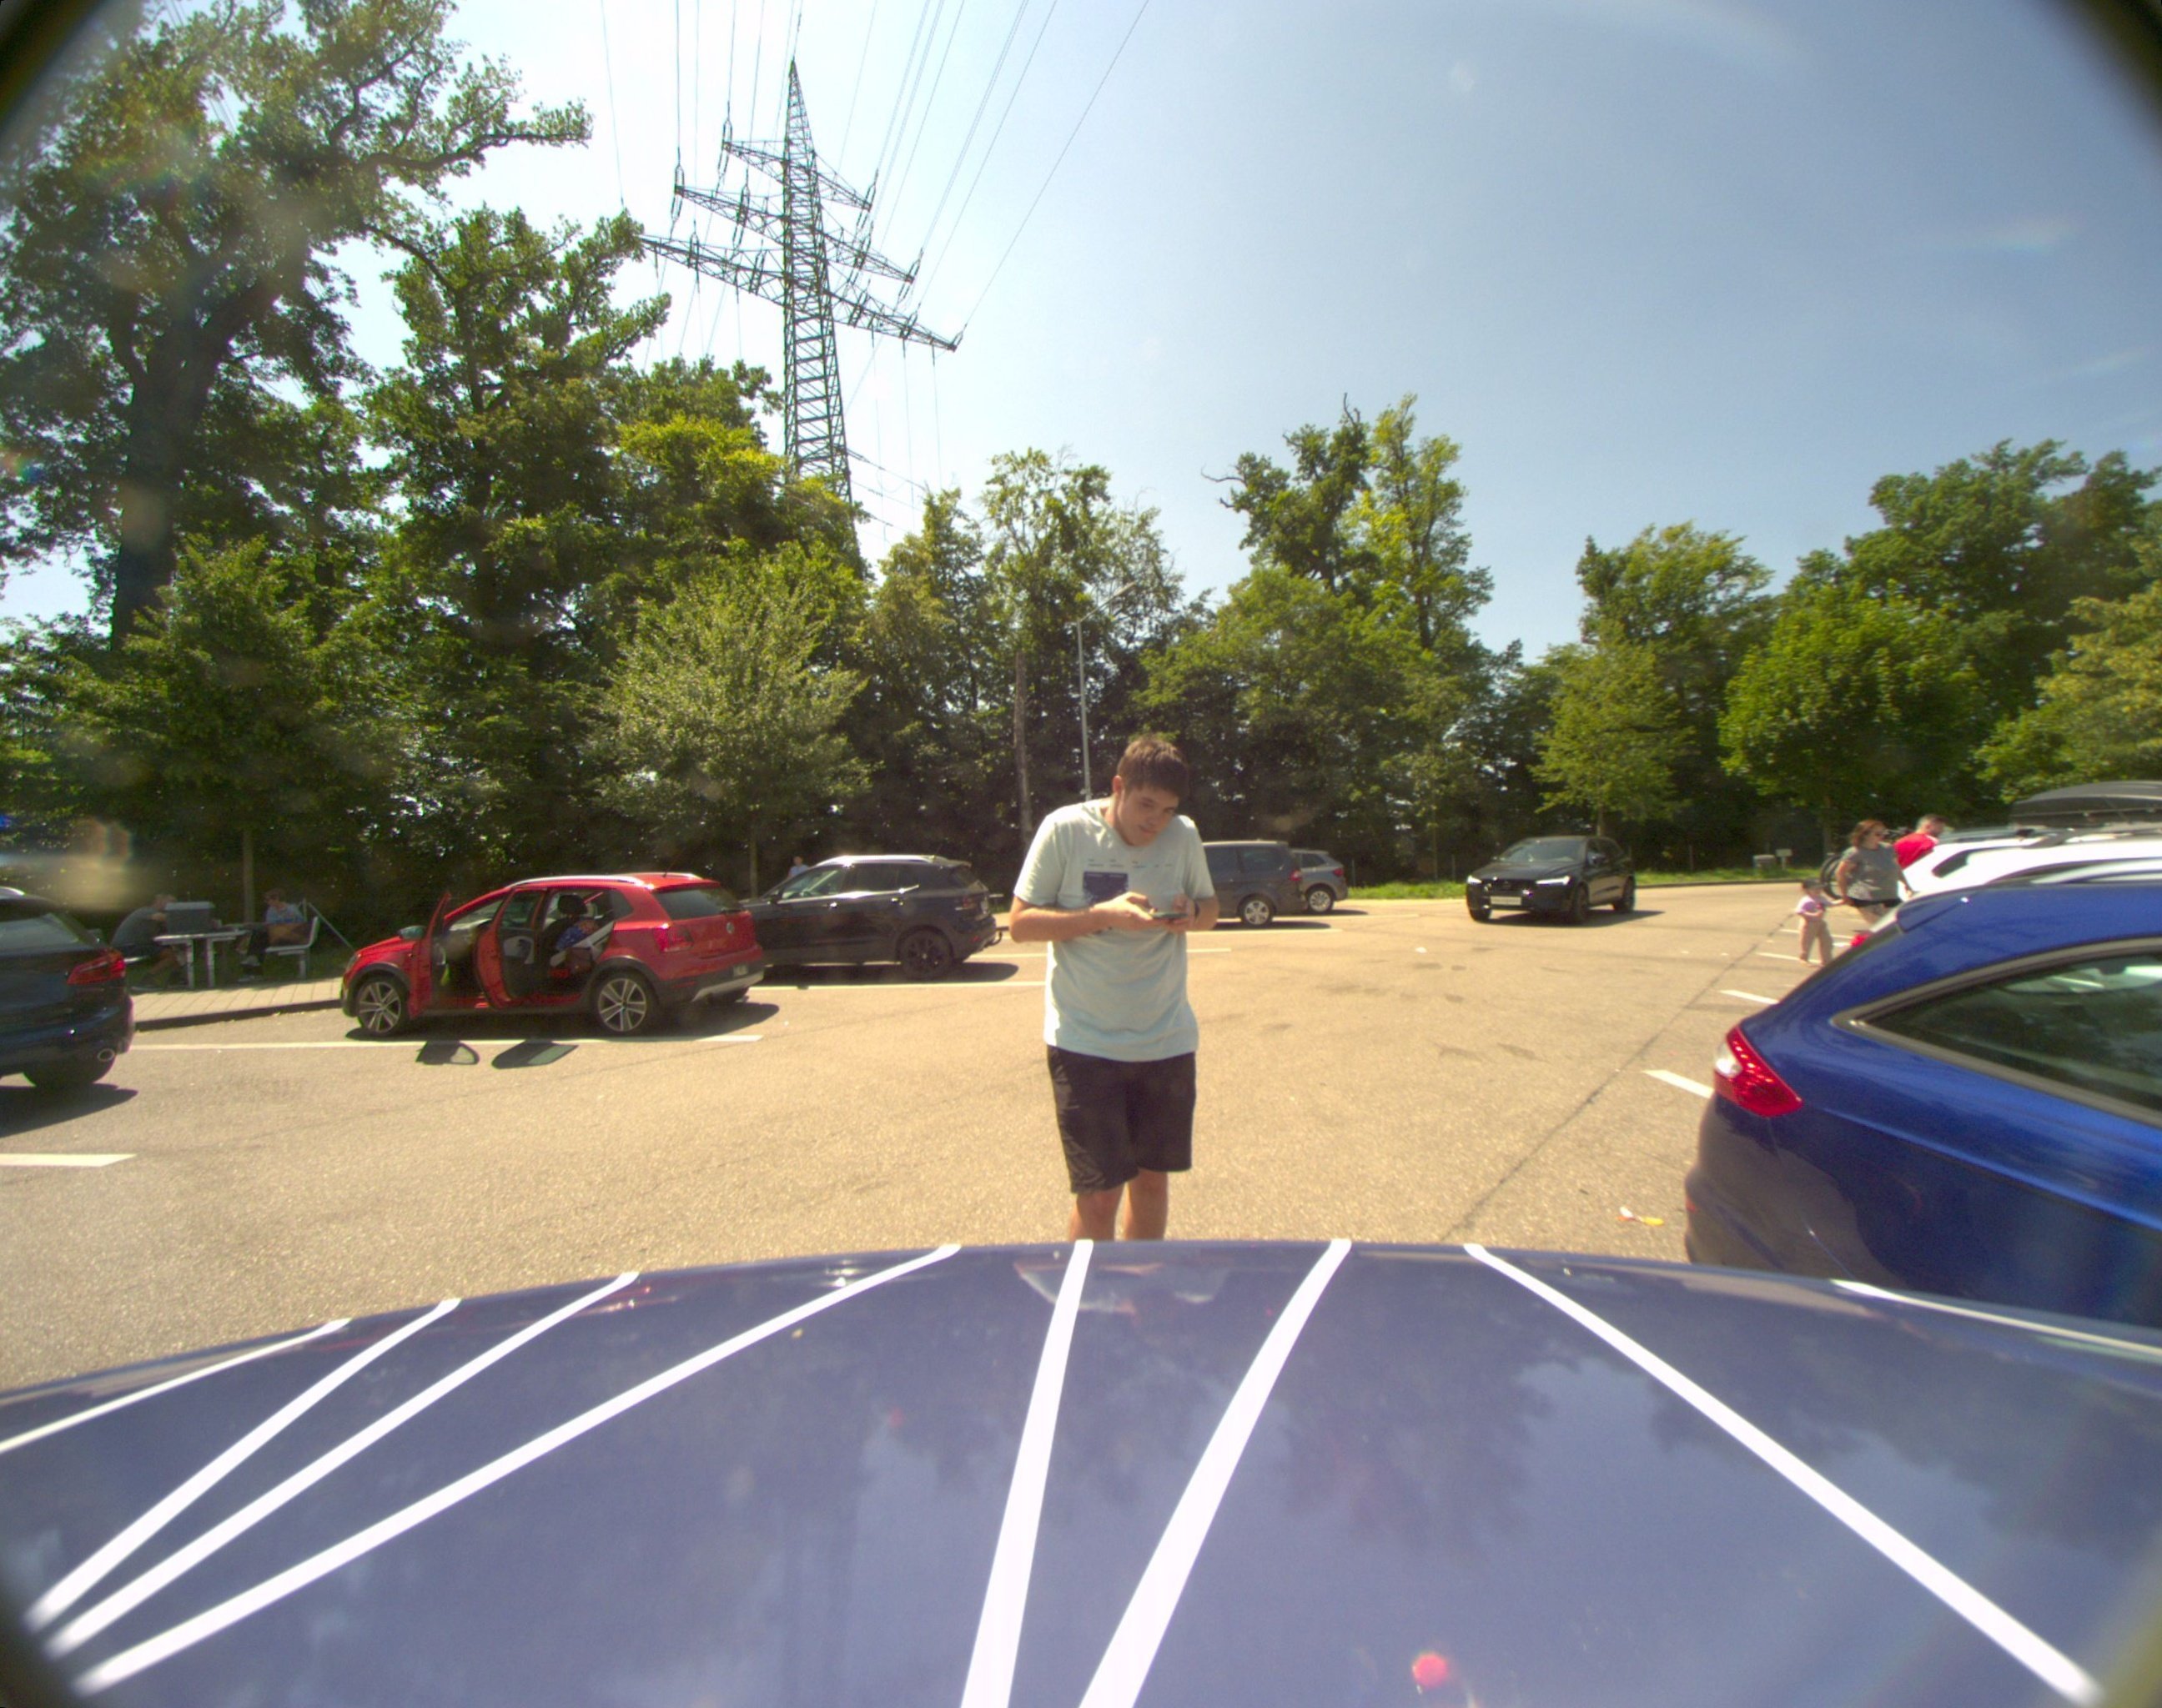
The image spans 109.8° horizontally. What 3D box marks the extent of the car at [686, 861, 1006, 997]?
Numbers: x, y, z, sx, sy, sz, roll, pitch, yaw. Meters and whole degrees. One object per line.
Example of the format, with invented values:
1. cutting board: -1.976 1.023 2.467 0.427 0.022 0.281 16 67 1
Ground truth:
1. car: -3.029 0.951 10.329 3.732 1.578 1.739 -2 0 2

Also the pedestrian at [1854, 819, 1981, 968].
1. pedestrian: 10.155 0.461 9.245 0.834 1.722 0.675 -2 0 -9

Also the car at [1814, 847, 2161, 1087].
1. car: 7.479 0.674 4.527 1.776 1.418 4.495 -3 -1 -1

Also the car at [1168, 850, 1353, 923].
1. car: 4.147 0.743 18.024 3.996 1.495 1.687 -2 1 3

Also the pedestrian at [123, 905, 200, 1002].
1. pedestrian: -12.628 1.345 10.454 0.695 1.228 0.588 -3 0 43

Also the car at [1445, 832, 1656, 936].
1. car: 9.432 0.490 15.121 4.625 1.703 1.995 -2 1 -37

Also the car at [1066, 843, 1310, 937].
1. car: 2.143 0.713 15.486 4.619 1.701 1.740 -2 0 9

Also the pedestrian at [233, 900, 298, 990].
1. pedestrian: -11.947 1.311 11.142 0.695 1.228 0.588 -3 0 43

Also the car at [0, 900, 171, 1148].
1. car: -8.881 1.167 5.007 3.934 1.534 1.812 -2 0 7

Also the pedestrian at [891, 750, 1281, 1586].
1. pedestrian: -0.005 0.733 2.151 0.861 1.940 0.688 -2 1 -6

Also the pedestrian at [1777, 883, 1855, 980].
1. pedestrian: 8.255 0.857 8.548 0.439 1.038 0.434 -2 0 4

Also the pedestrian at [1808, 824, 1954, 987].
1. pedestrian: 8.625 0.533 8.230 0.675 1.653 0.833 -2 0 0

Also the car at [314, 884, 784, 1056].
1. car: -5.186 1.094 7.652 3.730 1.440 1.591 -2 0 7

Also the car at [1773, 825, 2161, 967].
1. car: 12.544 0.476 10.384 1.777 1.541 4.493 -3 -1 -5

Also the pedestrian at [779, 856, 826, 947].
1. pedestrian: -5.763 0.960 15.721 0.767 1.821 0.519 -3 1 -29

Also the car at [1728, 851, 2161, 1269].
1. car: 4.876 0.743 2.368 1.776 1.491 4.495 -3 -1 -1

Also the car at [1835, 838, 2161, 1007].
1. car: 10.112 0.571 6.913 1.777 1.418 4.493 -3 -1 -5
